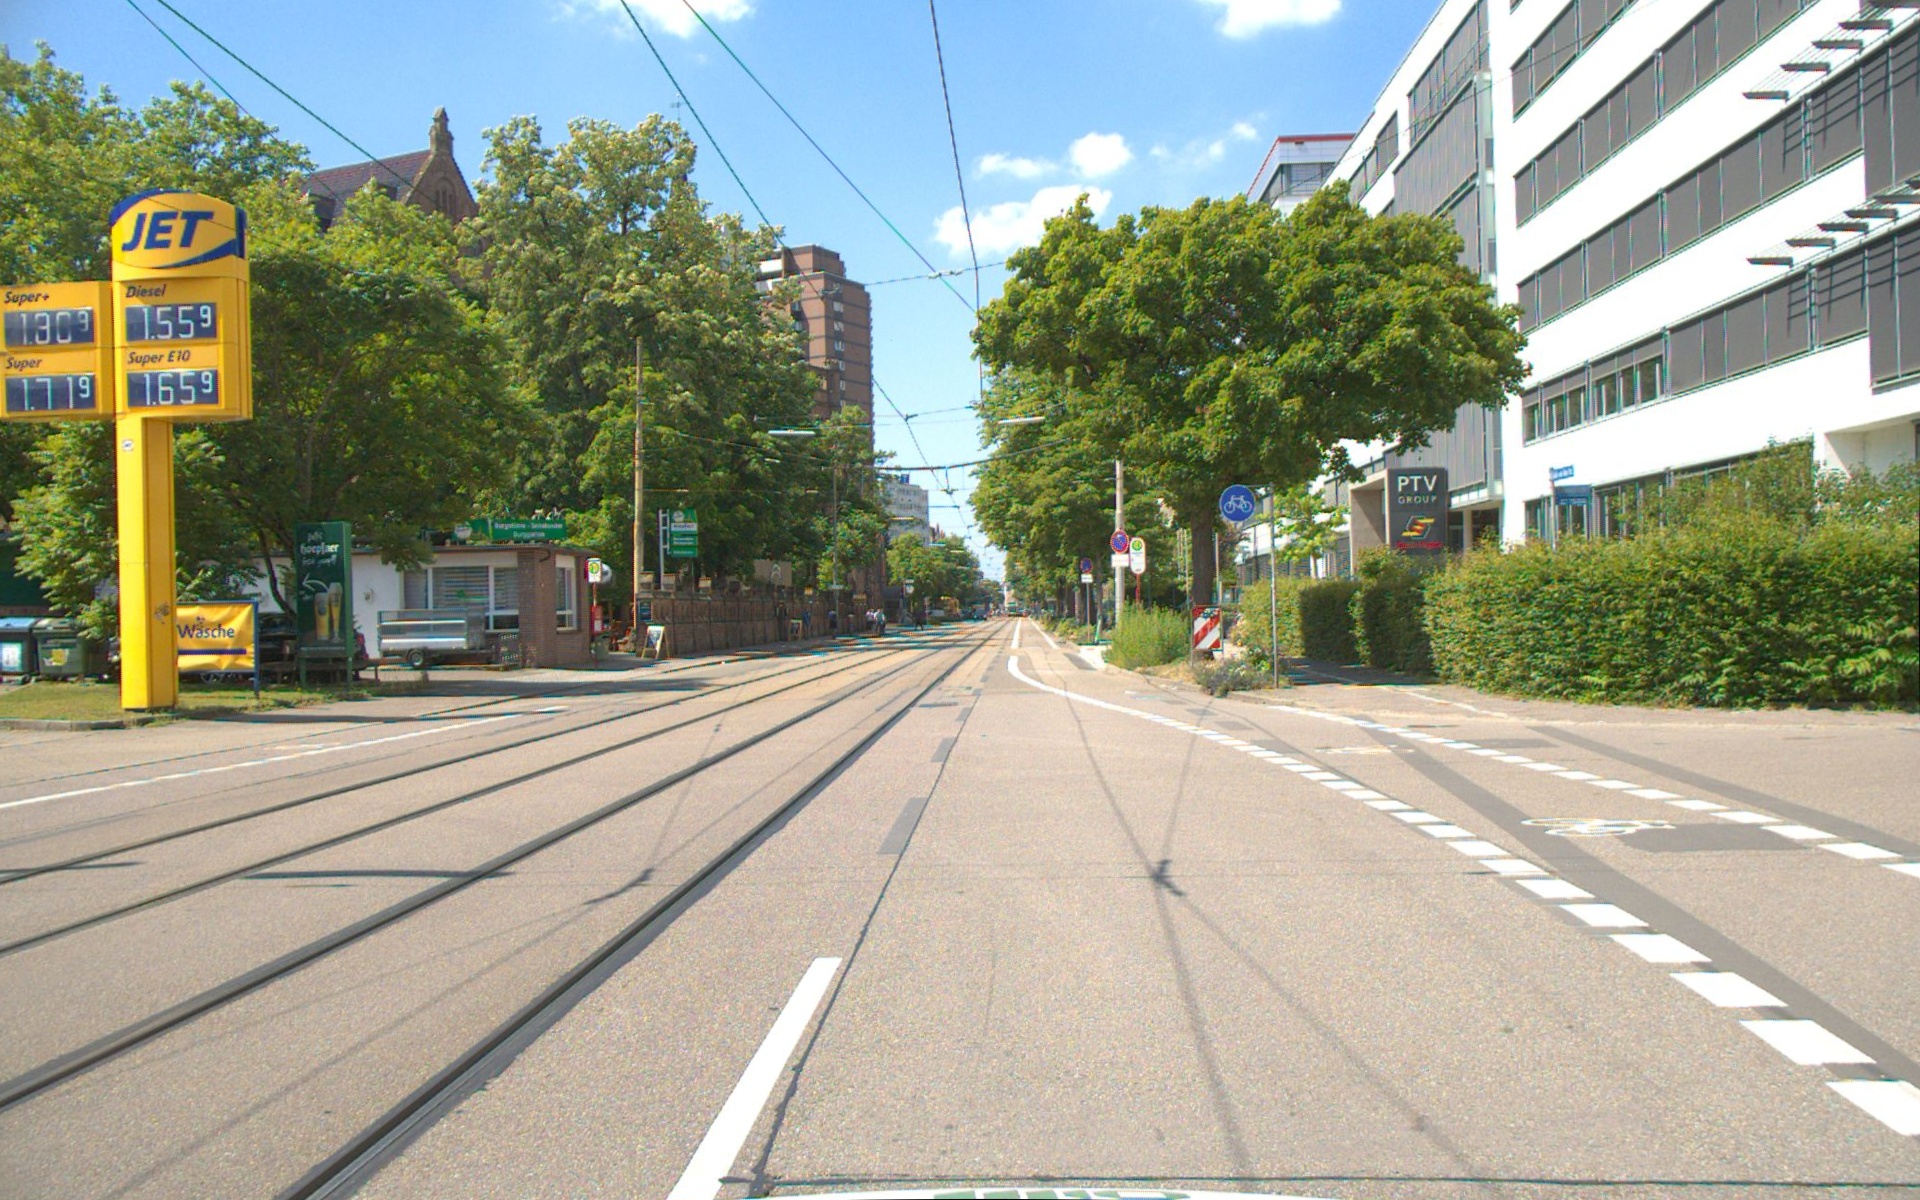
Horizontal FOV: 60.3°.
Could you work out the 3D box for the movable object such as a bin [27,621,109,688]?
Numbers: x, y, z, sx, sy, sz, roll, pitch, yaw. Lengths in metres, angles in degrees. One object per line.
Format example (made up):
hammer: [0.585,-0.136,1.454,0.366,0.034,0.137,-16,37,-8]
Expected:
movable object such as a bin: [-19.152,1.163,35.524,1.317,1.378,0.758,-1,-1,0]

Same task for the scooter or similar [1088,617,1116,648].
scooter or similar: [5.554,1.275,64.855,1.036,1.176,0.371,-3,-1,2]

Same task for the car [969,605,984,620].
car: [2.403,1.780,240.308,1.951,2.049,4.002,-1,0,4]

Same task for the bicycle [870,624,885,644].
bicycle: [-5.173,2.130,103.770,0.686,1.225,2.241,-4,-1,2]

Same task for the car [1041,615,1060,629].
car: [9.375,2.266,171.563,1.952,1.333,4.001,-2,-1,2]

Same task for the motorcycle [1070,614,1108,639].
motorcycle: [6.231,1.289,79.941,1.786,1.130,0.598,-2,-1,2]

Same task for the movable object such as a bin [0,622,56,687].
movable object such as a bin: [-20.618,1.188,36.153,1.315,1.378,0.759,-1,-1,14]

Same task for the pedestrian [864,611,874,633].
pedestrian: [-7.209,1.752,130.769,0.727,1.758,0.867,-1,-1,2]

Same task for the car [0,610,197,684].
car: [-21.029,1.103,40.085,4.295,1.620,1.882,-1,-1,-41]

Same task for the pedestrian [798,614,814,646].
pedestrian: [-8.521,1.644,91.531,0.727,1.758,0.867,-1,-1,2]

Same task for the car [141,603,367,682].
car: [-15.953,0.925,37.499,4.300,1.618,1.968,-1,-1,-44]

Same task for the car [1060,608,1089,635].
car: [6.928,1.297,100.615,1.600,1.527,4.001,-2,-1,2]

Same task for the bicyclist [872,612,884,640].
bicyclist: [-5.144,1.627,103.735,0.628,1.709,0.815,-2,-1,0]

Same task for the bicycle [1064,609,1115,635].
bicycle: [6.490,1.105,82.862,2.457,1.231,0.648,-2,-1,6]

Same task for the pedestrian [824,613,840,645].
pedestrian: [-7.384,1.656,95.594,0.798,1.801,0.925,-1,-1,2]

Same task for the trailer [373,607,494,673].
trailer: [-14.576,1.088,45.857,2.771,1.733,1.621,-1,-1,3]
